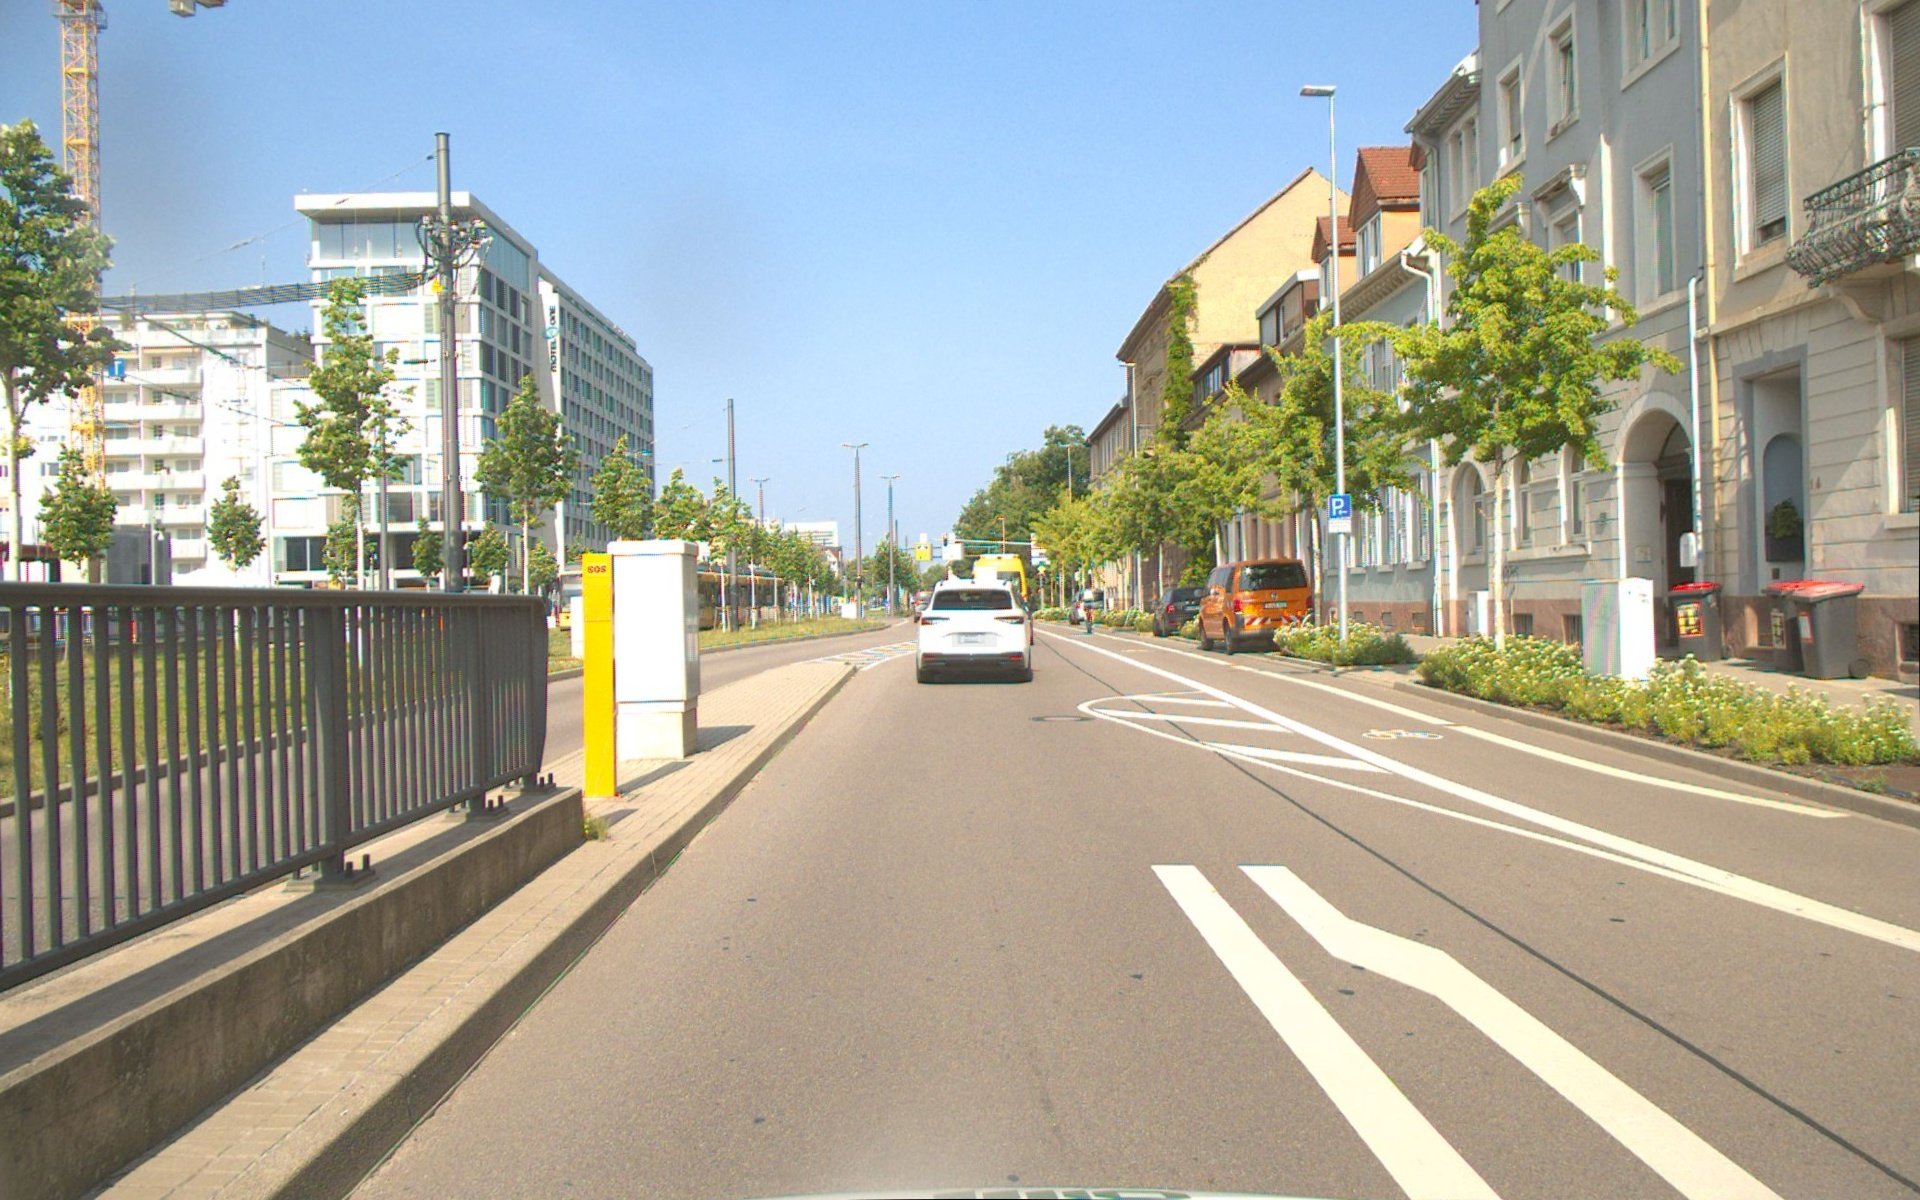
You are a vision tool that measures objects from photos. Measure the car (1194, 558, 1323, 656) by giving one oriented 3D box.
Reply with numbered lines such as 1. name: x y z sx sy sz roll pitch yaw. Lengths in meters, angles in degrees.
1. car: 6.717 0.124 37.723 2.021 2.049 4.588 -1 1 -1

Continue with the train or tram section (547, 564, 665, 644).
1. train or tram section: -17.470 0.169 82.944 2.802 3.598 14.896 -1 0 -1

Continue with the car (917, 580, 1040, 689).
1. car: 0.282 0.518 27.035 1.831 1.602 4.000 -1 0 0

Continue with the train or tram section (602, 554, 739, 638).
1. train or tram section: -14.153 -0.120 82.997 2.845 3.740 18.142 0 0 3

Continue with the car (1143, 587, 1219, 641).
1. car: 6.697 0.420 50.480 1.639 1.509 4.311 -3 0 -1

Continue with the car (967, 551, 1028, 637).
1. car: 1.272 -0.279 58.802 1.979 2.844 5.401 -1 2 0

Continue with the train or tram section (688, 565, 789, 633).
1. train or tram section: -13.261 -0.034 101.204 2.845 3.772 18.296 0 0 3

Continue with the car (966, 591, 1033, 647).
1. car: 1.032 0.482 45.077 1.724 1.461 4.115 0 0 0

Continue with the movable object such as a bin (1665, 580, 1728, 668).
1. movable object such as a bin: 10.275 0.321 23.071 0.666 1.172 0.607 -3 2 -44

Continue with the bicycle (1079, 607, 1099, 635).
1. bicycle: 4.597 0.737 59.101 0.642 0.955 1.517 -1 0 2

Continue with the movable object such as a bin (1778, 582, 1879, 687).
1. movable object such as a bin: 10.306 0.396 19.649 0.765 1.192 0.808 -1 2 -1

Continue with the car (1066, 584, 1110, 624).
1. car: 6.245 0.176 80.935 1.775 1.844 3.835 -1 0 -1

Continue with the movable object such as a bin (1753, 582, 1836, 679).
1. movable object such as a bin: 10.398 0.369 20.621 0.690 1.172 0.671 -1 2 -1

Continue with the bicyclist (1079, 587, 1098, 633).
1. bicyclist: 4.599 0.347 59.223 0.626 1.604 0.771 -1 0 2

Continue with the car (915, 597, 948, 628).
1. car: -1.708 0.754 100.970 1.891 1.853 4.000 -1 0 1
